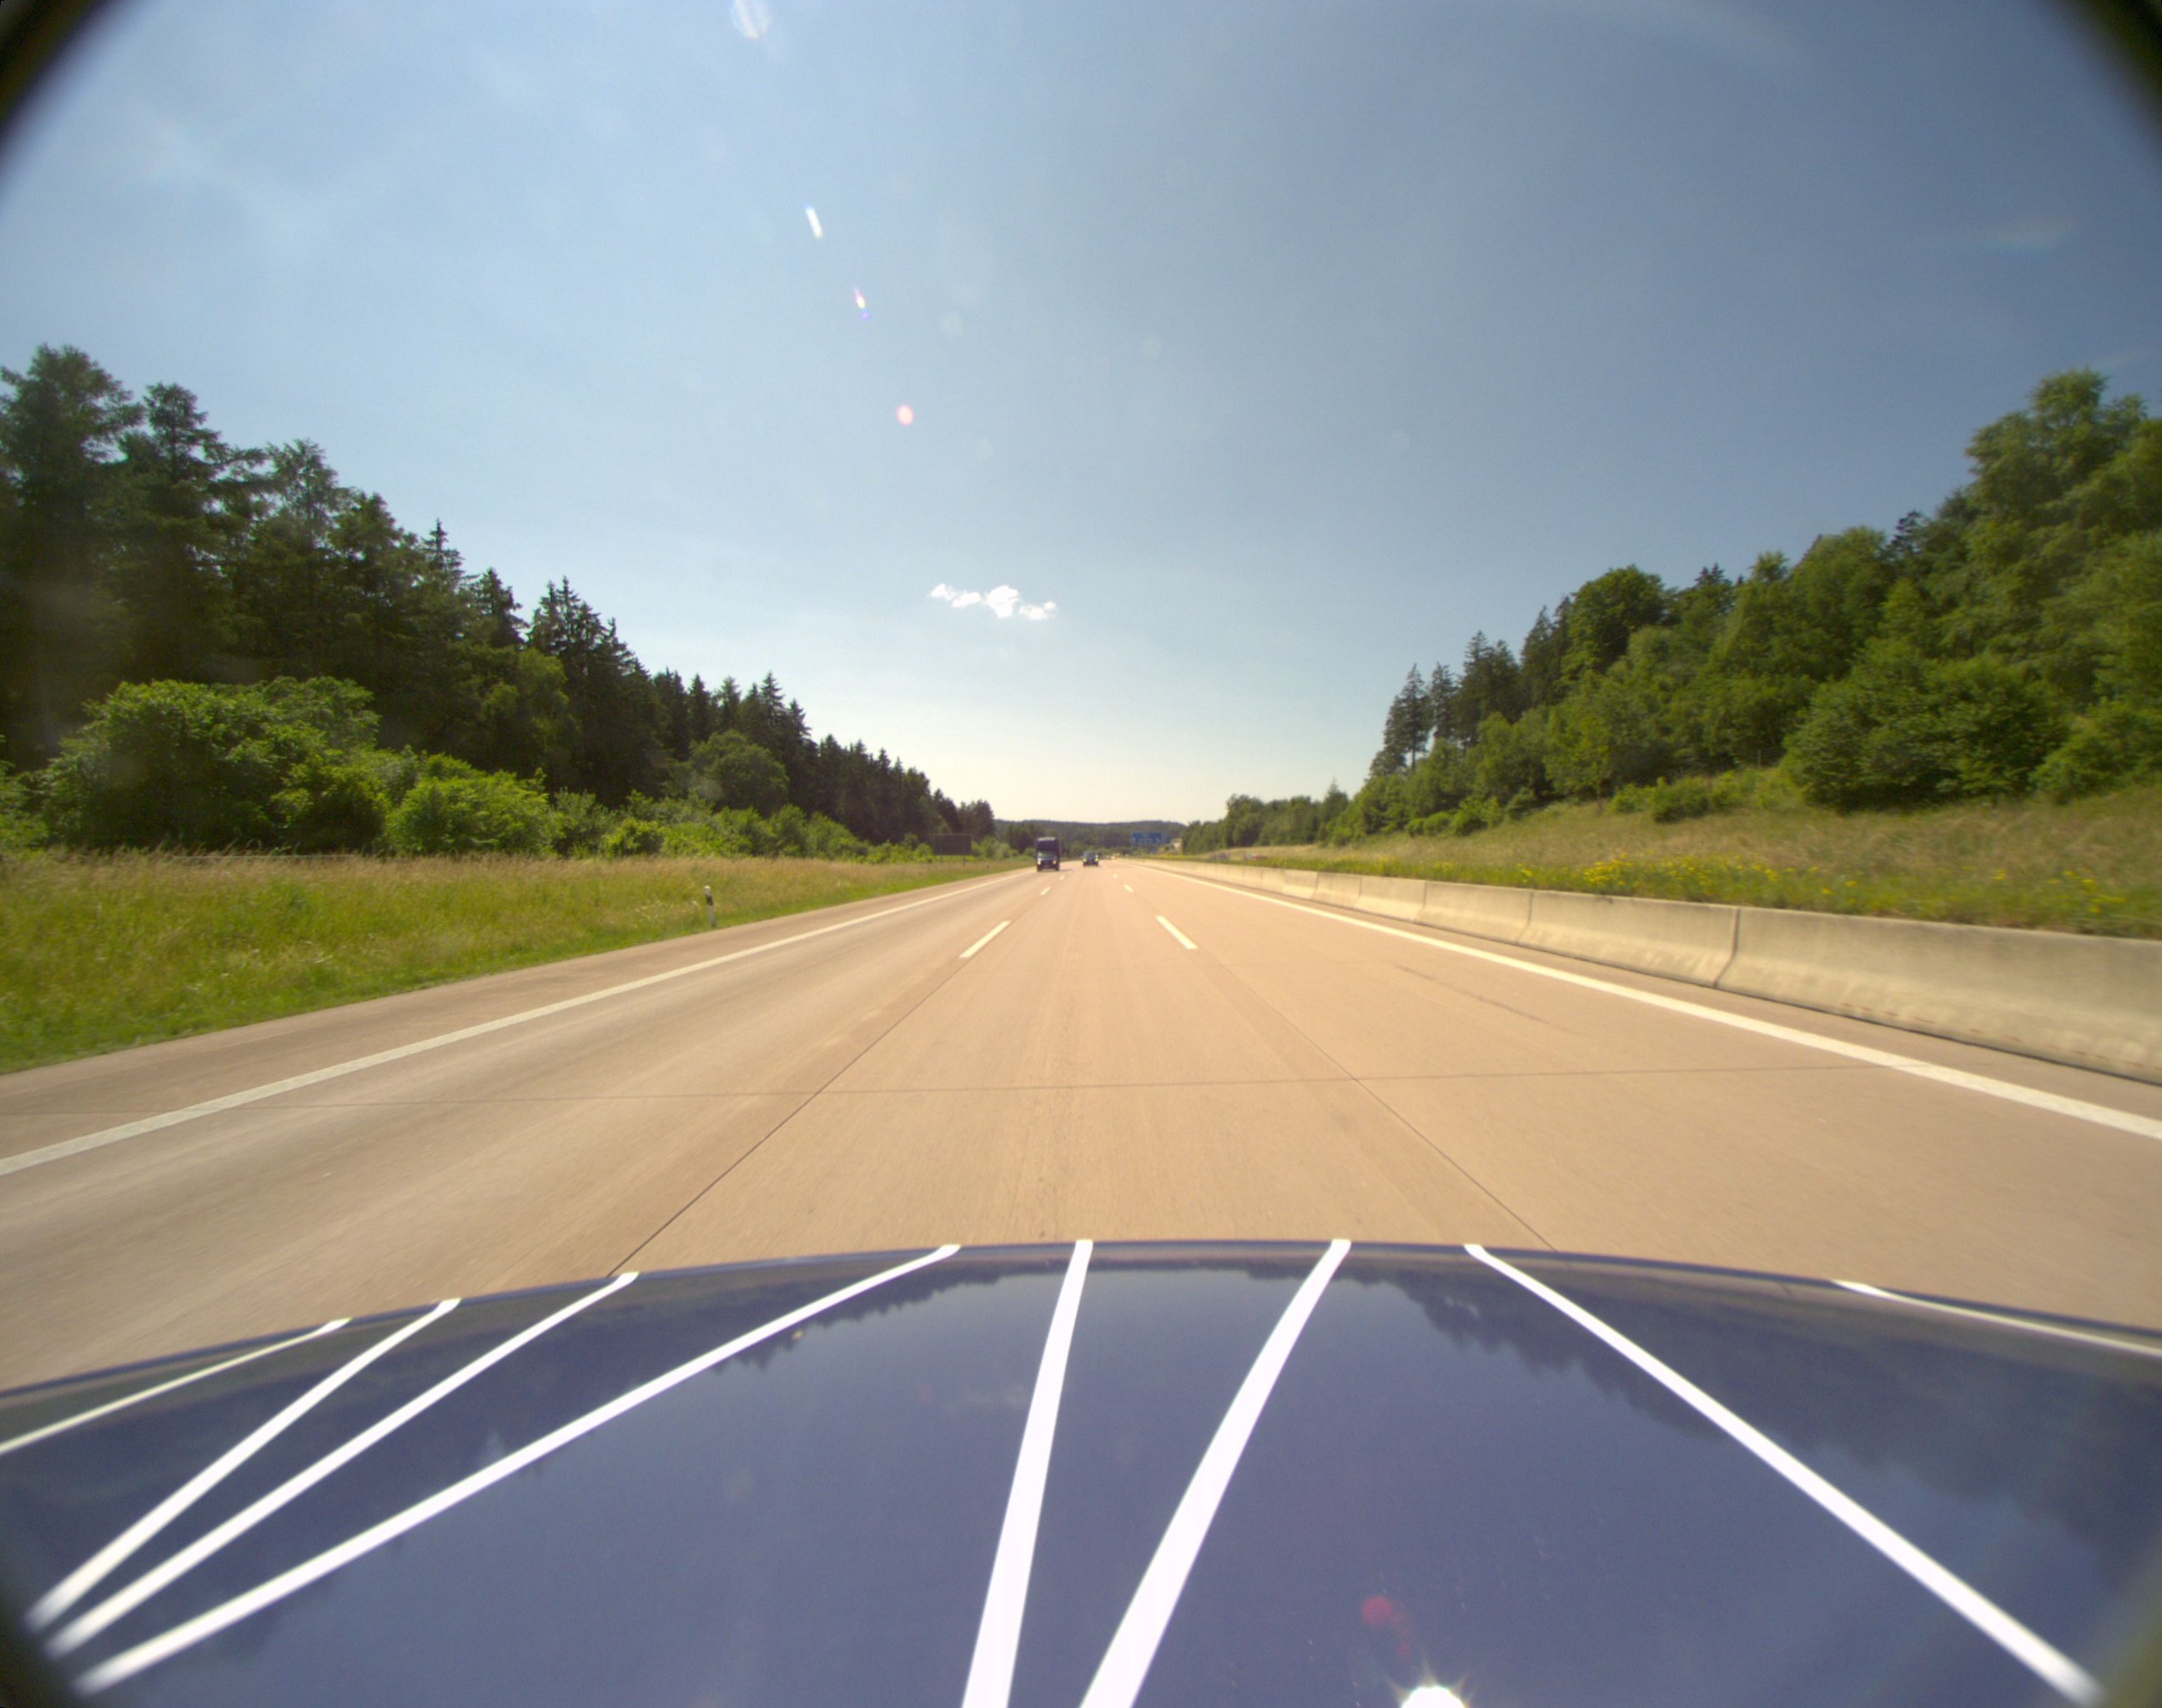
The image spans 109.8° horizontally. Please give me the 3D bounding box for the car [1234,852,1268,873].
[{"bbox_3d":[14.912,0.729,66.976,1.896,1.728,4.463,-2,0,-1],"label":"car"}]

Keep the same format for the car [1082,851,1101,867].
[{"bbox_3d":[1.309,0.633,92.469,1.998,1.805,4.565,-2,0,3],"label":"car"}]

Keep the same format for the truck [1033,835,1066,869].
[{"bbox_3d":[-3.054,-0.175,75.523,2.508,3.199,7.785,-2,0,2],"label":"truck"}]
